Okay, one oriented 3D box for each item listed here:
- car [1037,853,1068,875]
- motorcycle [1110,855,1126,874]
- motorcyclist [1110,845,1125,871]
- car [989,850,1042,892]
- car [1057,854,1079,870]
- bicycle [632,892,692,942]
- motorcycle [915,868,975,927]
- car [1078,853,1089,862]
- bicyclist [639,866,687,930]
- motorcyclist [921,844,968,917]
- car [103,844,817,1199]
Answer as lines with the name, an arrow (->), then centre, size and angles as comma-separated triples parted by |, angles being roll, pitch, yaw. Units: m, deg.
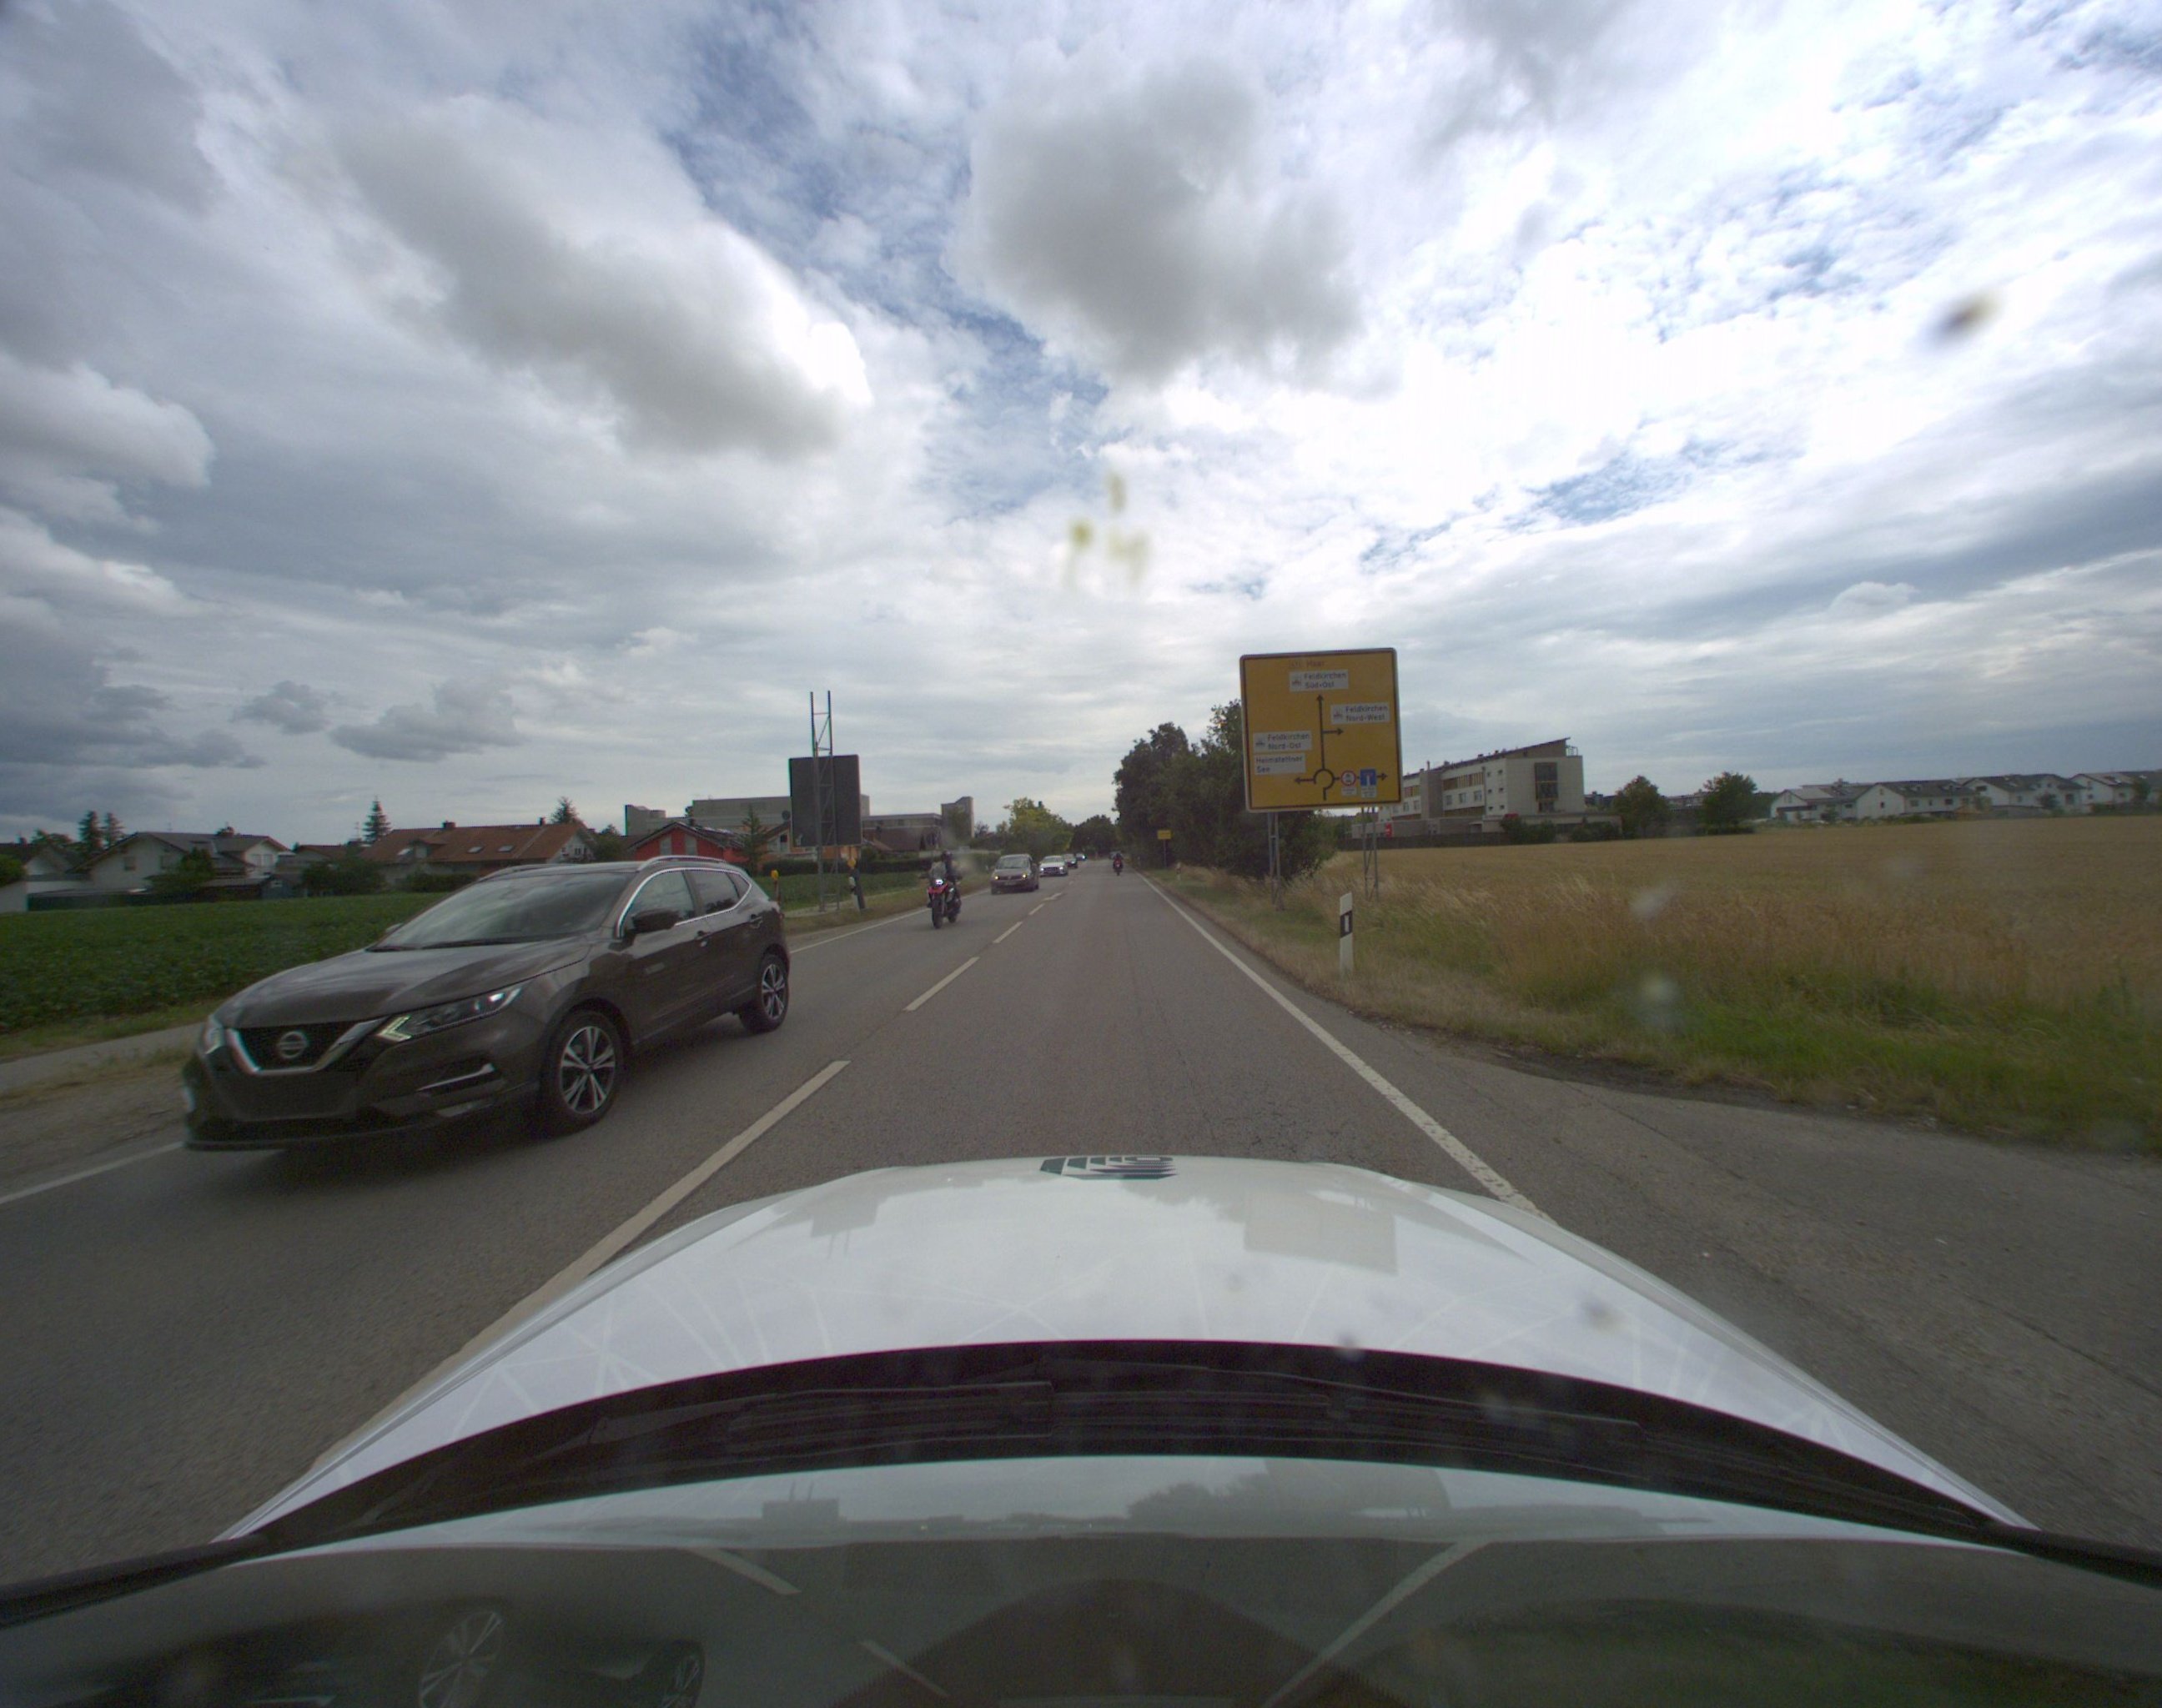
car -> -1.944, 0.677, 56.443 | 1.766, 1.373, 4.102 | -4, 0, 2
motorcycle -> 2.384, 0.651, 52.732 | 0.893, 1.158, 2.621 | -2, 0, 2
motorcyclist -> 2.367, 0.249, 52.734 | 0.858, 1.623, 1.191 | -2, 0, 1
car -> -2.726, 0.684, 34.656 | 1.698, 1.540, 4.303 | -4, 0, 2
car -> -1.265, 0.800, 81.018 | 1.846, 1.464, 4.372 | -3, 0, 1
bicycle -> -11.067, 1.638, 21.563 | 0.527, 1.156, 1.795 | -4, 0, 2
motorcycle -> -3.034, 0.931, 18.433 | 0.794, 1.158, 2.621 | -2, 0, 2
car -> 0.444, 0.700, 154.180 | 1.809, 1.494, 4.205 | -4, 0, 2
bicyclist -> -11.092, 1.147, 21.641 | 0.527, 1.584, 1.223 | -4, 0, 2
motorcyclist -> -3.054, 0.586, 18.339 | 0.794, 1.573, 1.078 | -2, 0, 1
car -> -3.678, 0.793, 6.108 | 1.722, 1.586, 4.506 | -3, 0, 2
